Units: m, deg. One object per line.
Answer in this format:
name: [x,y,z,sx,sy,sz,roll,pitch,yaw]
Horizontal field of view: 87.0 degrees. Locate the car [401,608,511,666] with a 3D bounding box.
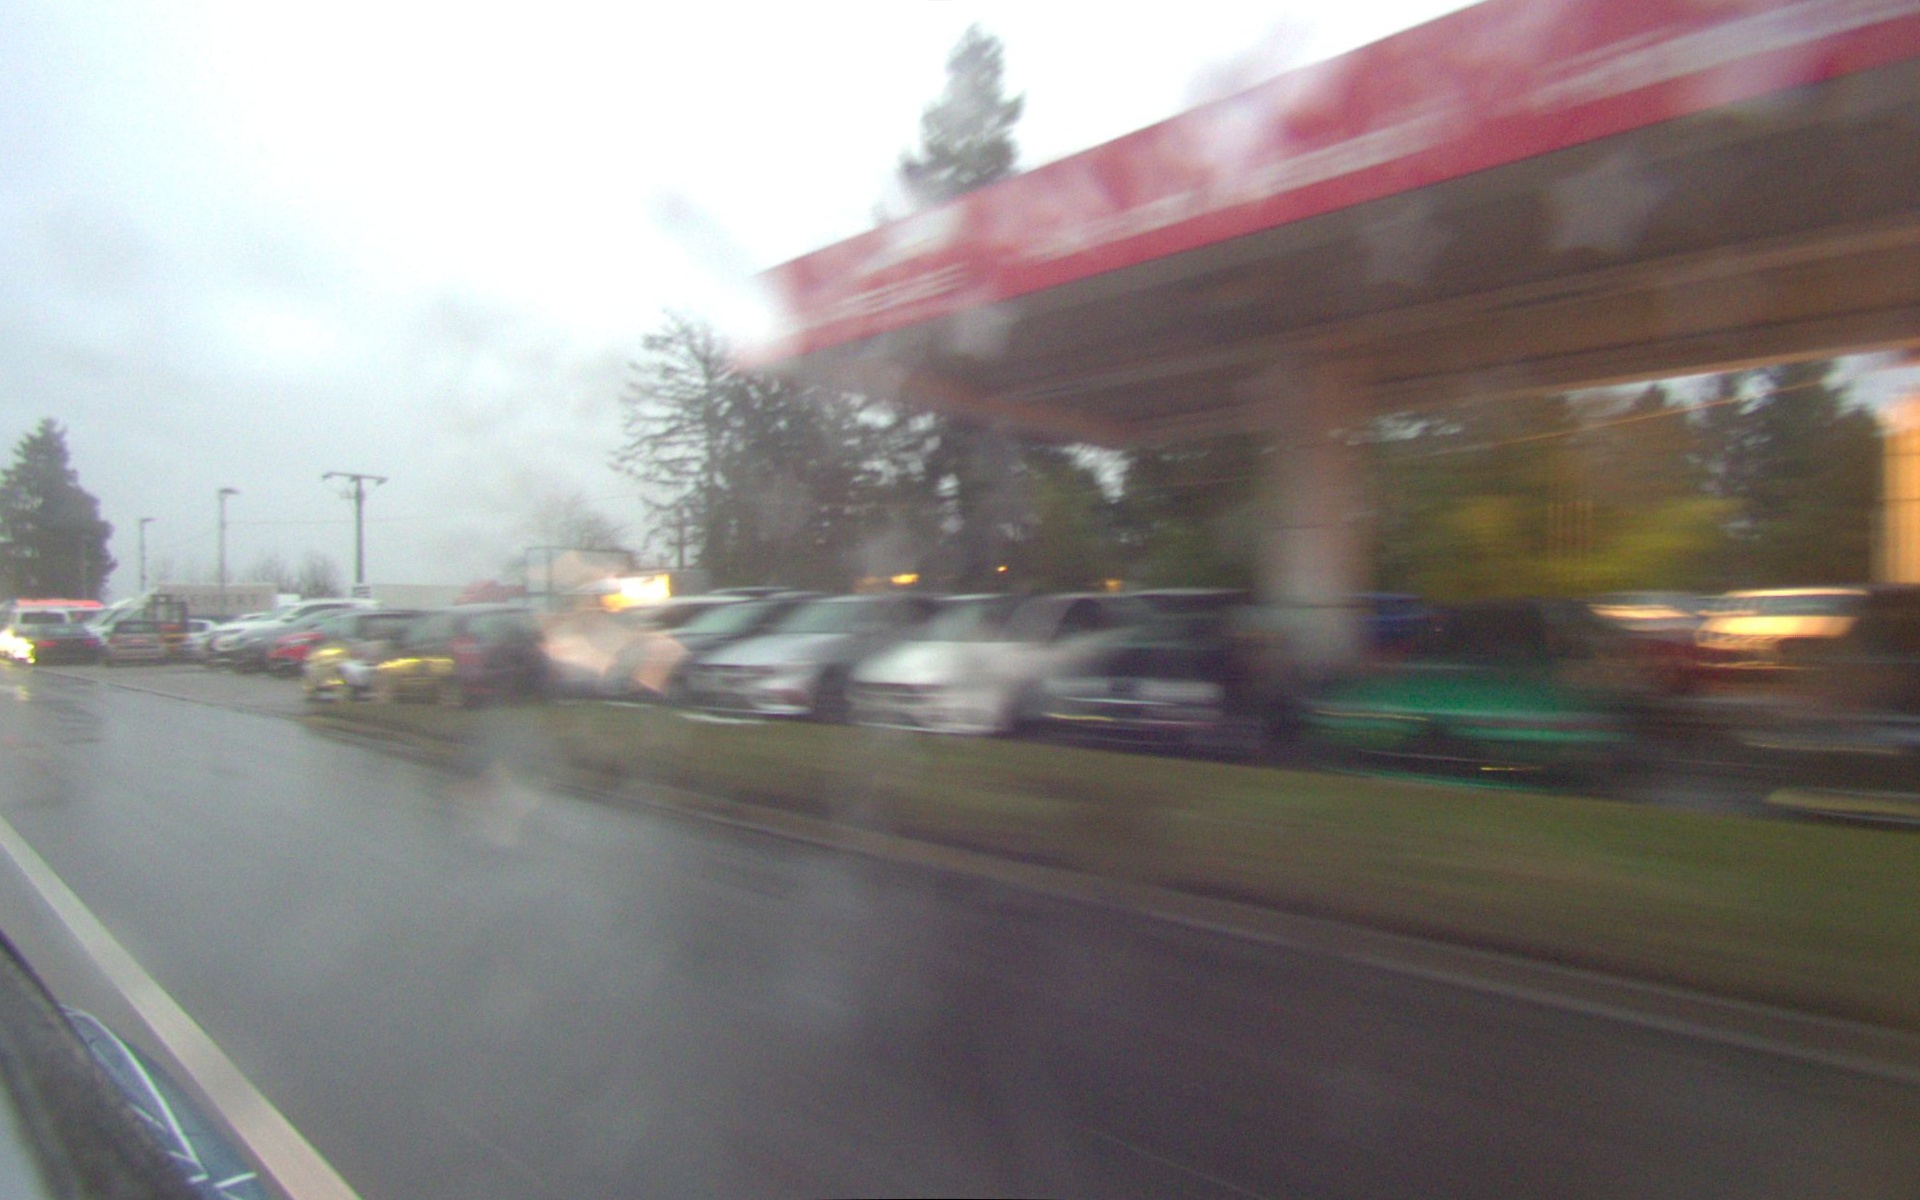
car: [-15.537,1.109,31.148,3.702,1.689,1.653,-1,-1,39]

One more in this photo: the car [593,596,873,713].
car: [-3.338,0.726,15.415,1.838,1.463,3.819,-1,1,40]

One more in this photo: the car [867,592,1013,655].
car: [-0.510,0.612,28.371,1.957,1.588,3.946,-1,0,41]

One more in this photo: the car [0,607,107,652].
car: [-46.867,1.509,51.412,2.057,2.167,5.093,-2,-3,40]

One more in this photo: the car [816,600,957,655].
car: [-2.132,0.774,30.076,1.957,1.476,3.946,-1,0,41]

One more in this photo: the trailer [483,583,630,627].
trailer: [-26.823,0.231,68.022,2.208,2.693,10.414,-1,0,26]

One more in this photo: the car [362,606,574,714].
car: [-7.572,0.830,15.433,3.740,1.431,1.664,-1,-1,43]

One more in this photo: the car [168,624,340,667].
car: [-24.992,1.581,35.998,1.781,1.448,4.709,-1,-2,38]

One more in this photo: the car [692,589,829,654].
car: [-6.386,0.657,32.637,1.957,1.937,3.946,-1,0,41]

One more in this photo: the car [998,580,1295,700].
car: [2.743,0.563,15.402,4.043,1.566,1.848,-2,0,42]

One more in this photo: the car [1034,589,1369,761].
car: [2.628,0.620,10.417,1.838,1.416,3.819,-1,0,40]

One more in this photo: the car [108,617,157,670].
car: [-27.258,1.412,33.300,1.157,1.657,2.874,1,-2,-41]

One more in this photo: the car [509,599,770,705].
car: [-5.603,0.831,18.018,1.941,1.662,4.003,-1,-1,42]

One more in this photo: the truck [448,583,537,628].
truck: [-29.153,0.306,63.264,2.223,2.717,4.683,-1,0,26]

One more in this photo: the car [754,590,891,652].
car: [-4.278,0.619,31.880,1.957,1.822,3.946,-1,0,41]

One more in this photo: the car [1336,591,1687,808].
car: [4.737,0.624,8.413,1.838,1.356,3.819,-1,0,40]

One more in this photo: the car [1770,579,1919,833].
car: [6.575,0.551,6.668,1.838,1.356,3.819,-1,0,40]

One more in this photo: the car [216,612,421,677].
car: [-17.170,1.132,27.220,1.995,1.509,4.288,-1,0,43]

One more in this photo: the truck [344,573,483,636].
truck: [-39.798,0.244,74.090,2.994,4.293,8.627,-1,1,29]

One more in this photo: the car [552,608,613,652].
car: [-12.753,0.986,34.387,1.646,1.394,3.634,-1,0,-16]

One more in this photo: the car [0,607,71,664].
car: [-35.378,1.323,38.556,4.484,2.028,1.815,-1,-1,43]

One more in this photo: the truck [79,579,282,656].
truck: [-34.366,0.742,44.875,2.332,3.166,6.791,-2,-1,39]

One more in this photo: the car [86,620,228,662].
car: [-30.009,1.560,37.913,1.809,1.489,3.869,-1,-3,40]

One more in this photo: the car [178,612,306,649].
car: [-29.911,1.249,42.271,1.812,1.388,4.011,-1,0,37]

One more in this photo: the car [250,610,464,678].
car: [-15.133,1.046,25.571,1.825,1.509,4.291,-1,0,41]

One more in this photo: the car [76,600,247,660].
car: [-37.223,1.353,47.360,2.193,2.658,5.973,-2,-1,38]

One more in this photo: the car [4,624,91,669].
car: [-31.186,1.559,34.549,4.252,1.331,1.554,1,-1,39]

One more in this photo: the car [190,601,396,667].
car: [-18.907,0.899,28.880,2.007,1.689,4.493,-1,0,36]

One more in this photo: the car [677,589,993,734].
car: [-1.532,0.703,13.530,1.822,1.566,3.990,-2,0,40]

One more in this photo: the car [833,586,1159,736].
car: [0.563,0.594,12.070,1.942,1.420,3.819,-1,1,40]

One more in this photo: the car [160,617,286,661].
car: [-32.013,1.656,44.042,2.022,1.746,4.011,-1,0,37]

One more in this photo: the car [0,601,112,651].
car: [-50.167,1.417,54.919,2.175,2.652,6.092,-2,-2,40]

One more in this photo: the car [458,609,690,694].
car: [-7.451,0.925,19.810,1.838,1.356,3.819,-1,1,40]

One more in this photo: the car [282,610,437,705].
car: [-10.761,0.981,18.090,3.013,1.555,1.502,-1,-2,41]

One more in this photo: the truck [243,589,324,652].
truck: [-39.158,1.220,58.553,5.842,3.481,2.012,-2,-3,37]

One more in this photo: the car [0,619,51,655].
car: [-39.361,1.536,42.350,3.840,1.423,1.632,-2,-1,43]

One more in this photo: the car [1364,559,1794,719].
car: [7.174,0.410,11.961,4.043,1.566,1.848,-2,0,42]

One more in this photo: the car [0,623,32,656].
car: [-43.781,1.825,46.247,3.741,1.431,1.633,-3,-3,42]
